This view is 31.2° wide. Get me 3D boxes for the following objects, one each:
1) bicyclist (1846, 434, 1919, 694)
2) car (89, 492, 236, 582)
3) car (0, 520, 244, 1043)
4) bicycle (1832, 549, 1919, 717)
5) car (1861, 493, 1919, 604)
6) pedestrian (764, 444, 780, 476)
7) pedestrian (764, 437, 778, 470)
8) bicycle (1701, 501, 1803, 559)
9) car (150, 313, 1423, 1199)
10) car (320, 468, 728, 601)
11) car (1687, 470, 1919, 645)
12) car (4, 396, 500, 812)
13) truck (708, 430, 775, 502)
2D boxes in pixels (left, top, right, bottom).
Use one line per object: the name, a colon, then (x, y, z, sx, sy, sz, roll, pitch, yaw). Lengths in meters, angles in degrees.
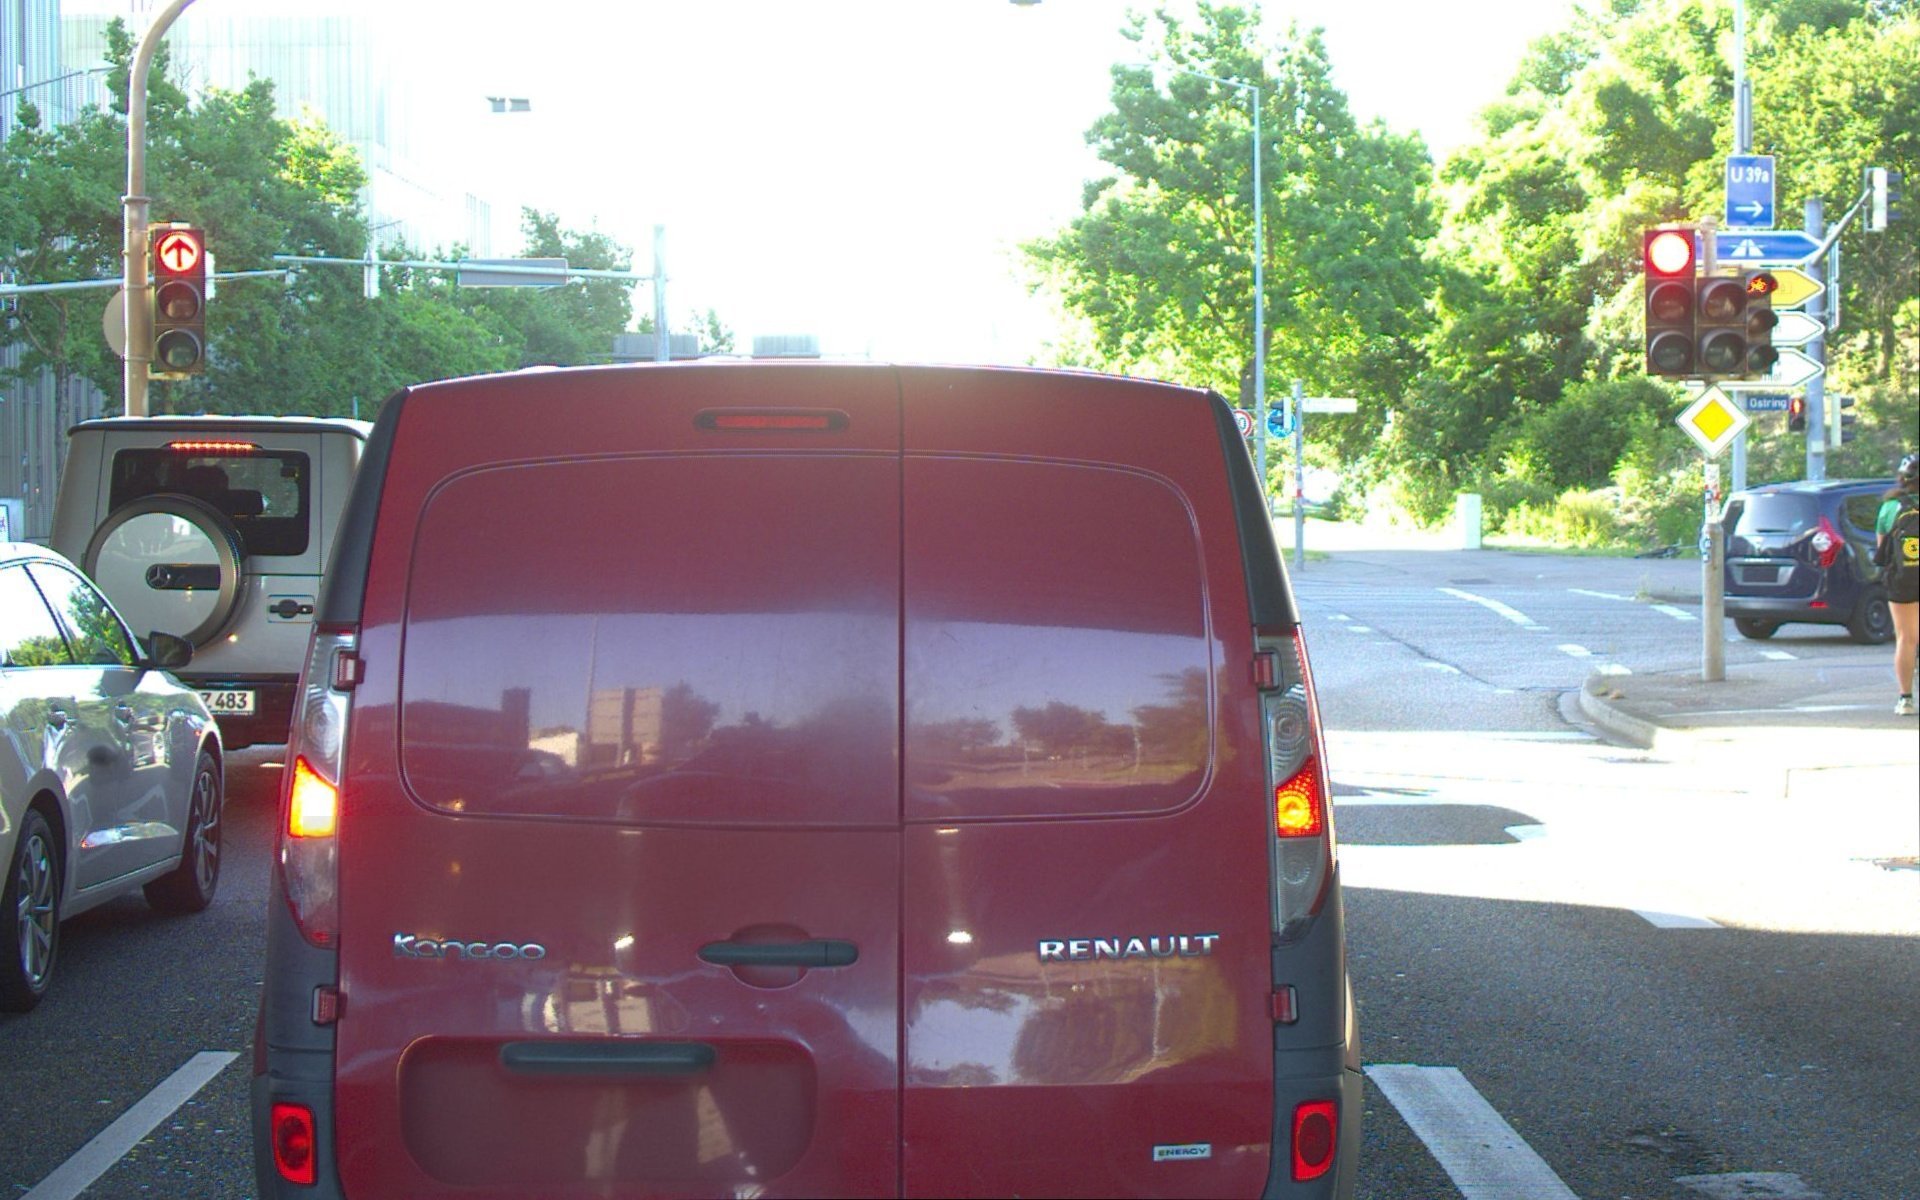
bicyclist: (6.046, -0.225, 21.765, 0.591, 1.608, 0.942, 1, 0, -1)
car: (-16.565, -1.339, 71.622, 1.825, 1.731, 4.629, -2, 2, 1)
car: (-3.640, 0.470, 11.406, 1.813, 1.433, 3.731, 0, 2, -1)
bicycle: (6.056, 0.197, 21.761, 0.591, 1.020, 1.750, 1, 1, -1)
car: (13.971, -0.684, 45.412, 3.746, 1.443, 1.695, 0, 1, 4)
pedestrian: (-11.992, -8.907, 219.091, 0.941, 2.007, 0.694, 1, 0, 3)
pedestrian: (-11.465, -8.871, 208.236, 0.740, 2.007, 0.637, 1, 0, 3)
bicycle: (14.358, -1.268, 62.375, 1.745, 1.020, 0.593, 1, 0, 9)
car: (-0.274, 0.476, 6.923, 1.805, 1.788, 4.000, 1, 1, -1)
car: (-5.250, -0.772, 41.642, 4.548, 1.509, 1.828, 0, 1, -34)
car: (9.493, -0.447, 35.322, 3.969, 1.700, 1.724, -1, 1, -36)
car: (-3.720, -0.003, 18.861, 1.801, 1.982, 4.589, 1, 1, -1)
truck: (-9.672, -5.927, 152.908, 2.409, 3.016, 6.657, -2, 2, 0)
